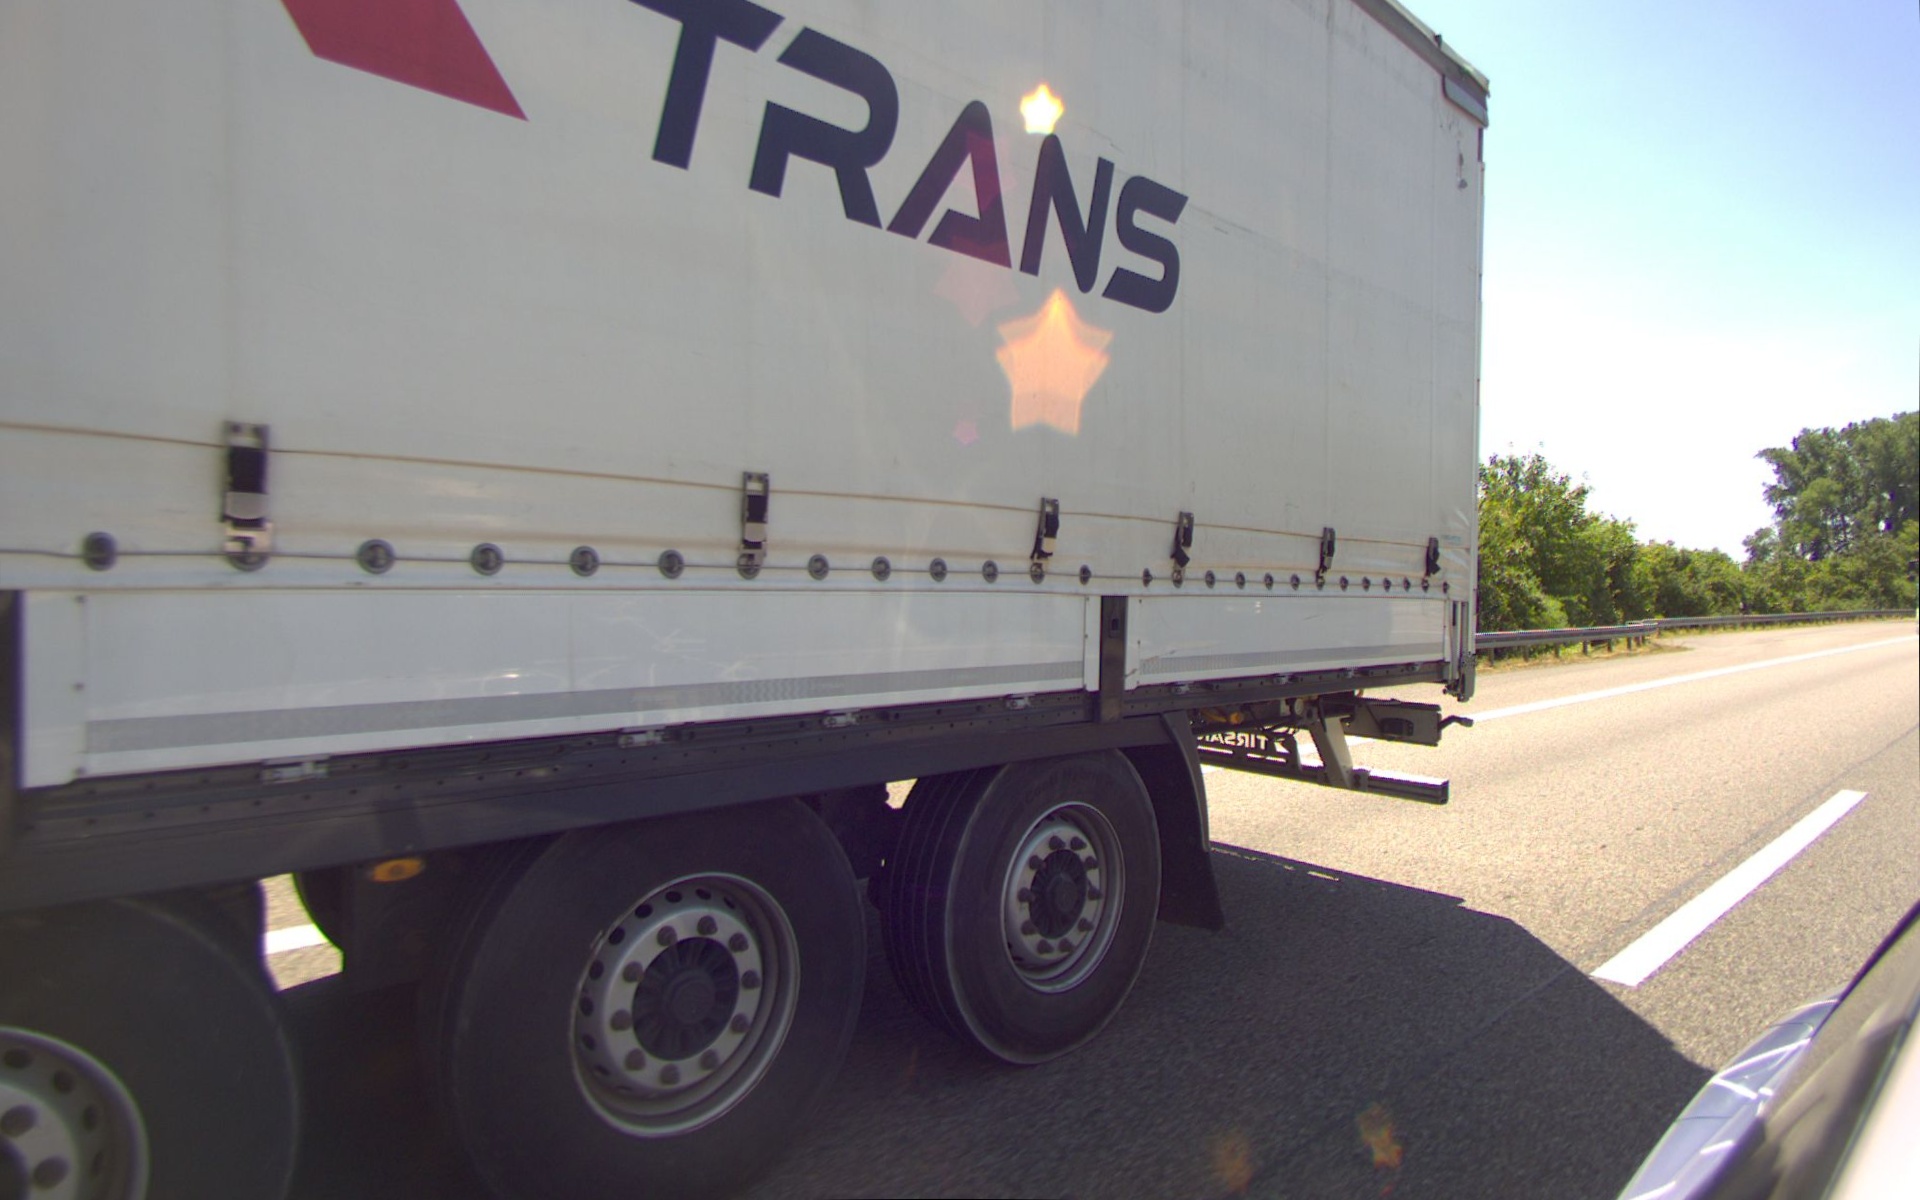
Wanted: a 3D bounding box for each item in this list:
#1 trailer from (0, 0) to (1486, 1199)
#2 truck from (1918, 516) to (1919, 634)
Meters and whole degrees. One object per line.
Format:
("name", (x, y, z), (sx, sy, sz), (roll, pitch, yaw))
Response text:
("trailer", (-3.636, -0.725, 1.270), (13.904, 4.140, 2.711), (0, 0, -41))
("truck", (37.083, -0.891, 36.571), (6.097, 4.158, 2.964), (0, 0, -40))
